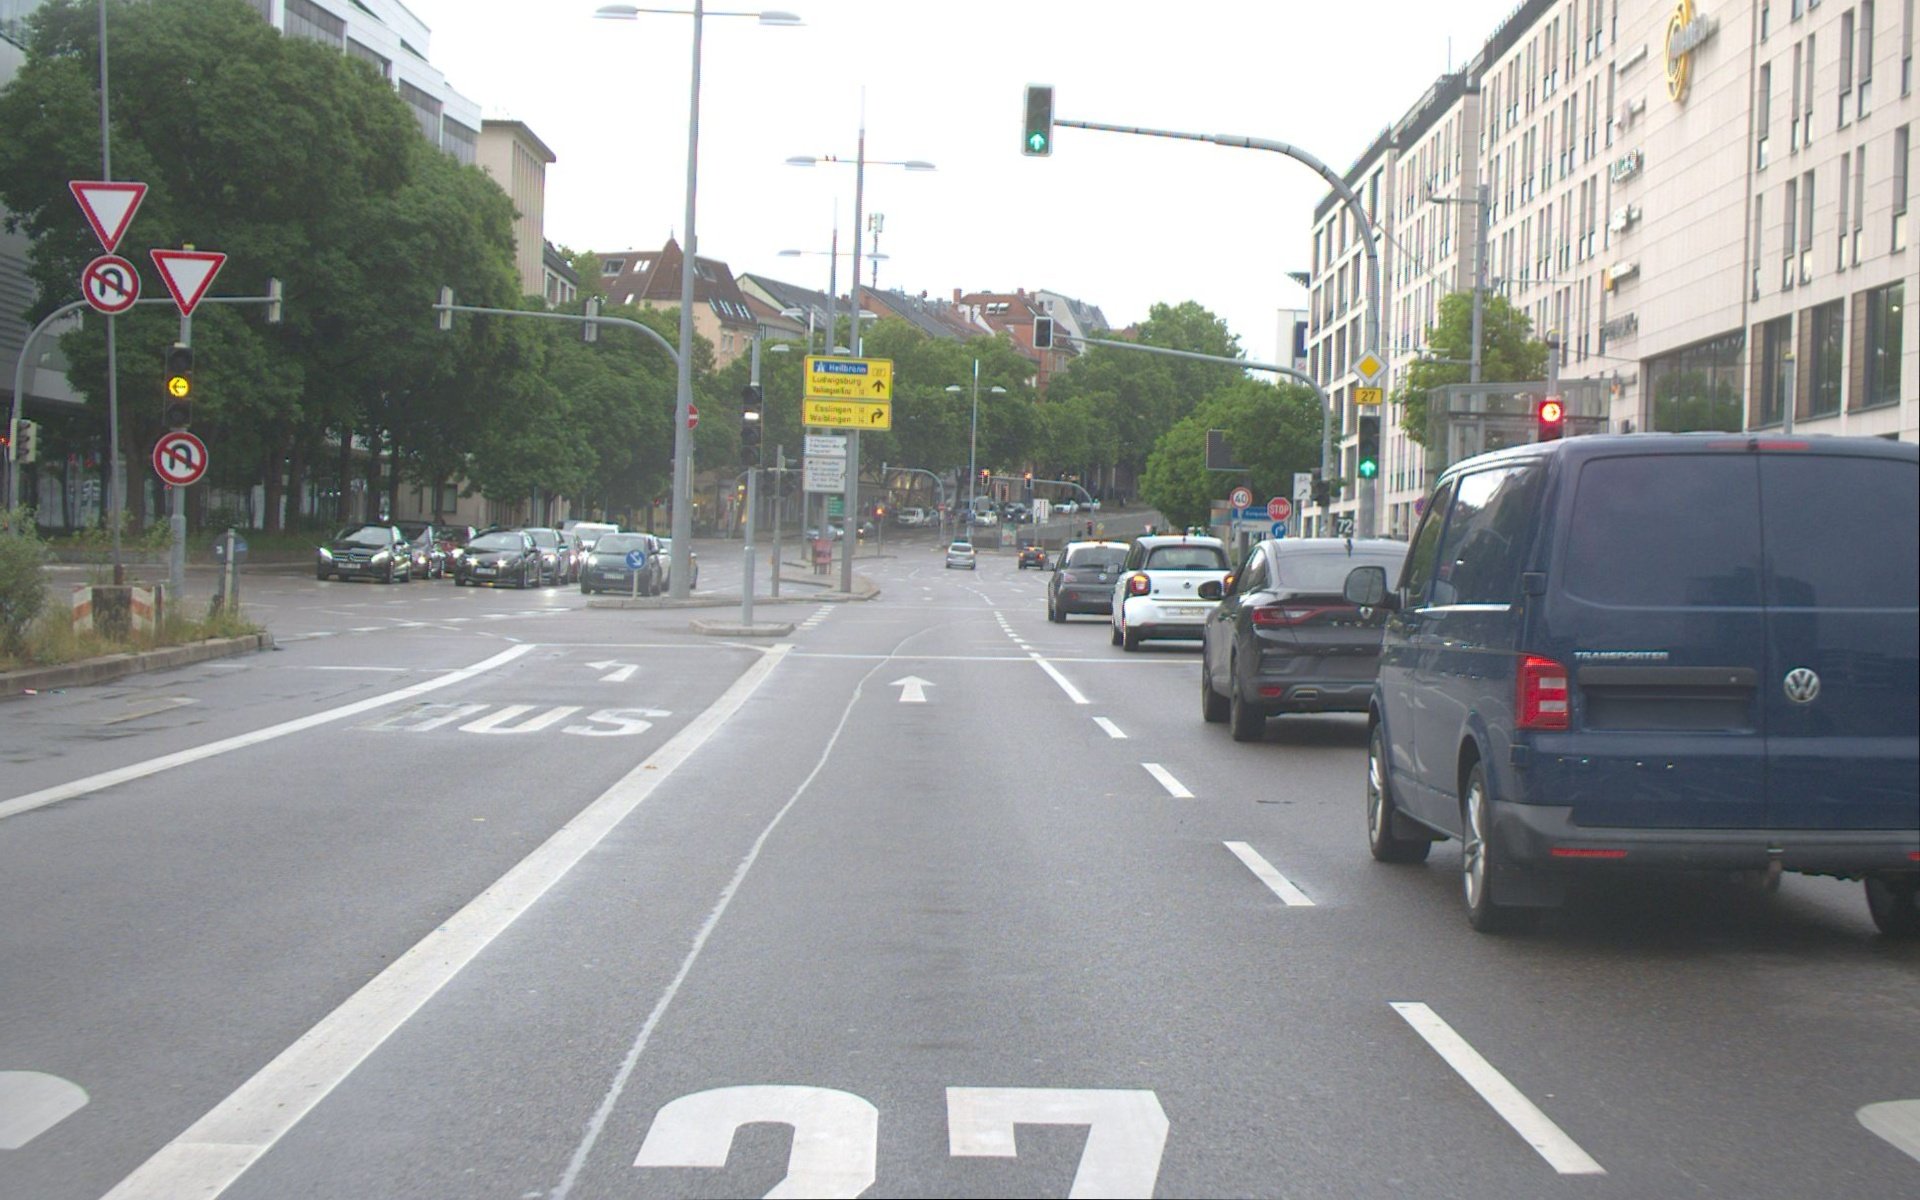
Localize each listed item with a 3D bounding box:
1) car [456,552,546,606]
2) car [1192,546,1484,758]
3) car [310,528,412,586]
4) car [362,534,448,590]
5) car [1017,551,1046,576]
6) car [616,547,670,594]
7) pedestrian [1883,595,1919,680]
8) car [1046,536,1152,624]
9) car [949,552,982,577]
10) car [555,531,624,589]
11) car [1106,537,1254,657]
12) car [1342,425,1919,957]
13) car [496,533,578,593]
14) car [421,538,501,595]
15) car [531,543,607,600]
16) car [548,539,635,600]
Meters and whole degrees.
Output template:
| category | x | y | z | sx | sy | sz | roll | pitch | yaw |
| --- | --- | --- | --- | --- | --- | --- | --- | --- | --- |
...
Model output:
| category | x | y | z | sx | sy | sz | roll | pitch | yaw |
| --- | --- | --- | --- | --- | --- | --- | --- | --- | --- |
| car | -11.499 | -0.552 | 86.364 | 1.743 | 1.253 | 3.540 | 2 | 1 | 0 |
| car | 2.903 | 0.348 | 27.254 | 1.791 | 1.501 | 4.339 | 1 | 1 | 0 |
| car | -14.738 | -1.040 | 84.721 | 1.743 | 1.324 | 4.225 | 1 | 0 | 0 |
| car | -15.034 | -1.017 | 93.303 | 1.743 | 1.419 | 3.539 | 1 | 0 | 0 |
| car | 4.655 | -2.394 | 224.224 | 1.740 | 1.526 | 3.814 | 1 | 0 | 0 |
| car | -12.377 | -1.142 | 134.287 | 1.743 | 1.742 | 3.539 | 1 | 0 | 0 |
| pedestrian | 18.231 | 0.724 | 66.523 | 0.594 | 1.636 | 0.587 | 1 | 0 | 25 |
| car | 2.512 | -0.345 | 62.816 | 1.740 | 1.526 | 3.814 | 1 | 0 | 0 |
| car | 0.306 | -2.196 | 211.863 | 1.739 | 1.526 | 3.815 | 1 | 1 | -4 |
| car | -11.549 | -1.228 | 107.242 | 1.743 | 1.742 | 3.539 | 1 | 0 | 0 |
| car | 2.941 | -0.035 | 46.578 | 1.724 | 1.526 | 3.814 | 1 | 0 | 0 |
| car | 2.949 | 0.263 | 14.851 | 2.033 | 1.875 | 5.042 | -1 | 1 | 0 |
| car | -11.486 | -0.981 | 93.541 | 1.743 | 1.553 | 3.539 | 1 | 0 | 0 |
| car | -14.362 | -0.956 | 99.046 | 1.743 | 1.553 | 3.539 | 1 | 0 | 0 |
| car | -11.152 | -0.807 | 98.221 | 1.743 | 1.553 | 3.539 | 1 | 0 | 0 |
| car | -9.104 | -0.733 | 85.142 | 1.743 | 1.439 | 3.395 | 1 | 0 | 0 |
